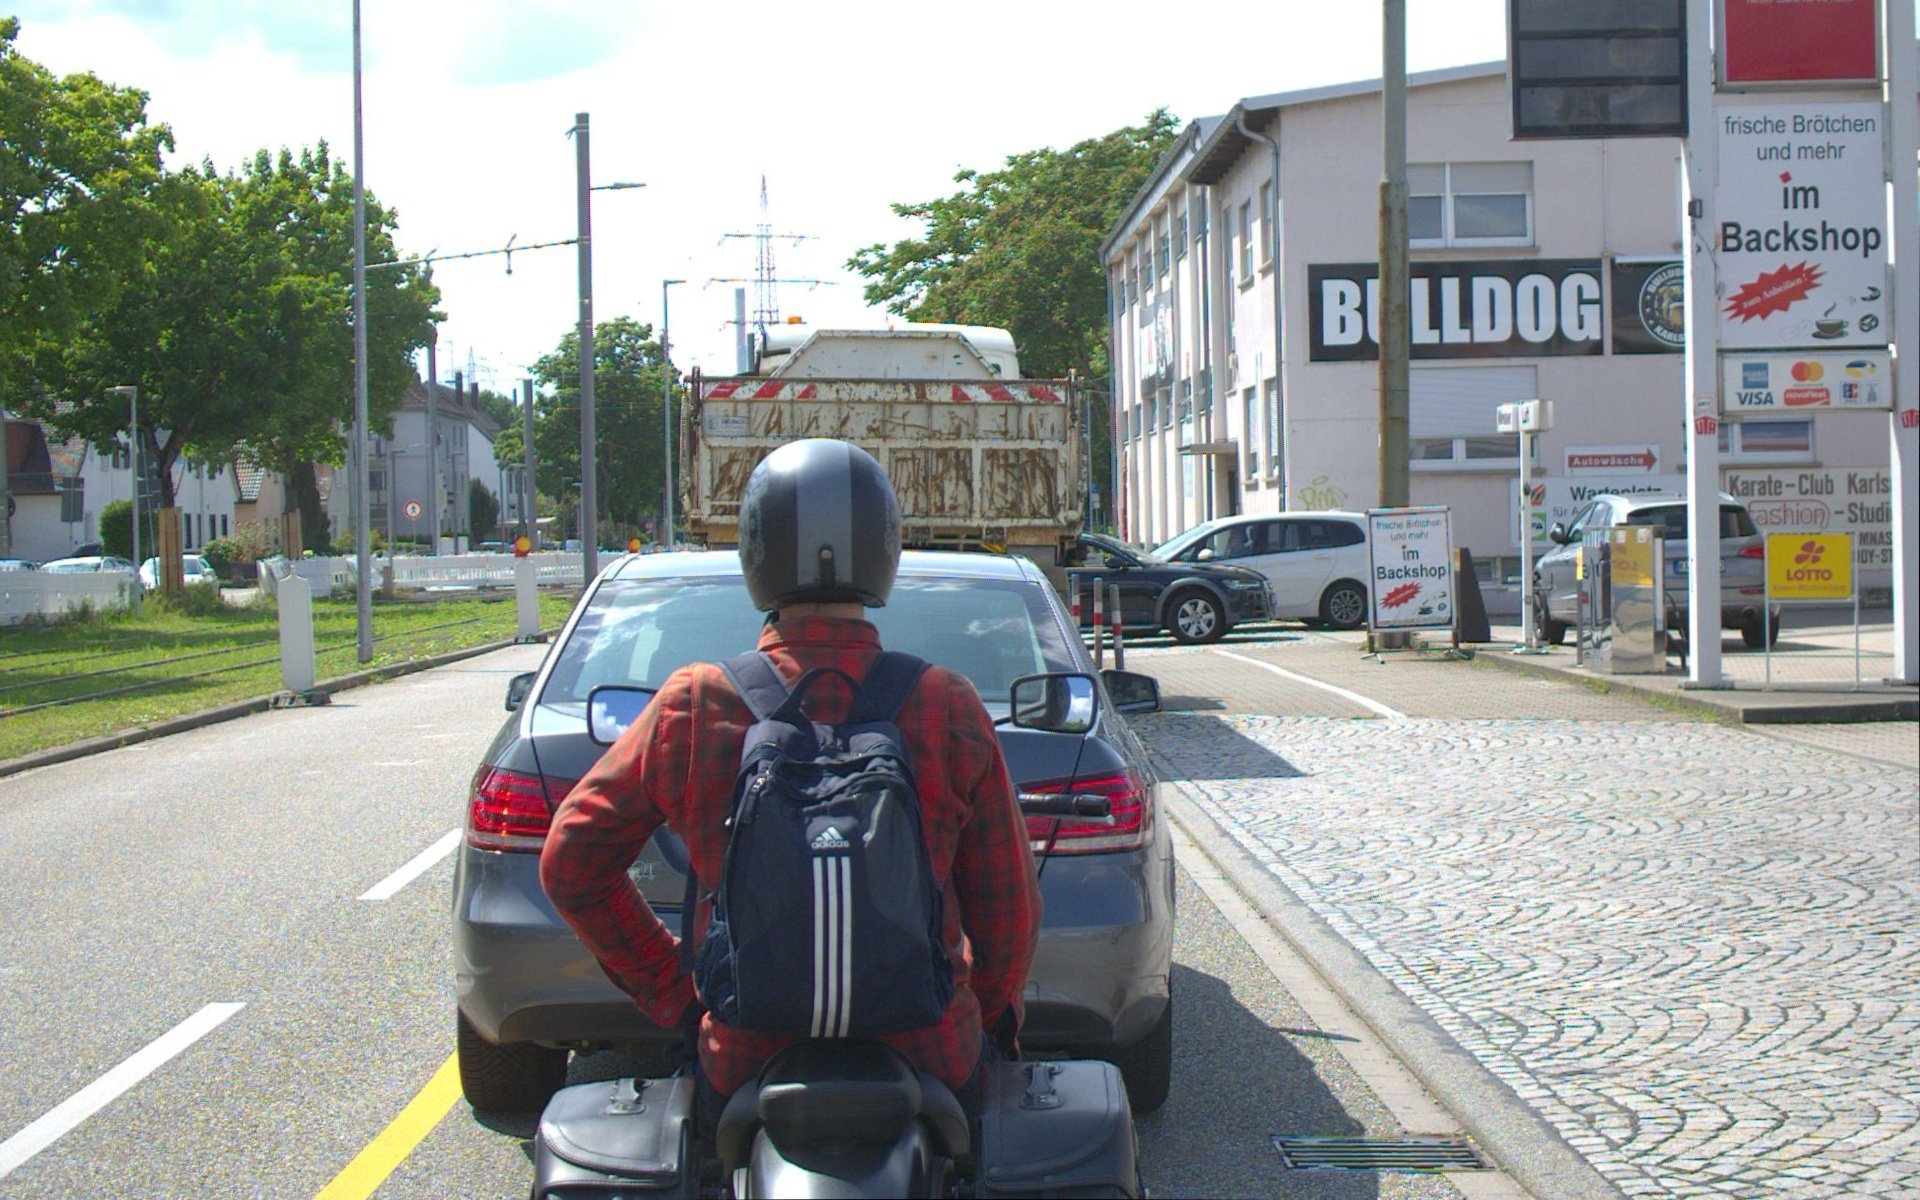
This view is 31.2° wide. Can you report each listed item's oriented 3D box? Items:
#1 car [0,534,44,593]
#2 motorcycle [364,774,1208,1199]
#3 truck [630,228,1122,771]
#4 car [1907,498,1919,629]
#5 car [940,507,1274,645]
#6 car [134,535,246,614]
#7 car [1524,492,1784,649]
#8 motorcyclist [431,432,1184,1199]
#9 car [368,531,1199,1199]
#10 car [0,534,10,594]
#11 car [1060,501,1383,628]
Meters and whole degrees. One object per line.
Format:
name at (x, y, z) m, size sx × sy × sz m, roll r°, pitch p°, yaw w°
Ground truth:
car at (-29.260, -1.110, 104.591) m, size 1.698 × 1.733 × 4.062 m, roll -1°, pitch 1°, yaw 0°
motorcycle at (-0.219, 0.862, 5.207) m, size 0.976 × 1.010 × 2.432 m, roll 1°, pitch 1°, yaw -1°
truck at (-0.636, -0.715, 25.468) m, size 2.970 × 3.293 × 8.408 m, roll -1°, pitch 1°, yaw -2°
car at (11.788, -0.400, 37.242) m, size 1.832 × 1.474 × 4.010 m, roll -1°, pitch 1°, yaw -2°
car at (1.871, -0.316, 43.552) m, size 4.105 × 1.619 × 1.686 m, roll -1°, pitch 1°, yaw 4°
car at (-17.806, -0.620, 79.672) m, size 1.698 × 1.733 × 3.860 m, roll -1°, pitch 1°, yaw 0°
car at (7.324, -0.340, 36.644) m, size 1.832 × 1.530 × 4.010 m, roll -1°, pitch 1°, yaw -2°
motorcyclist at (-0.209, 0.587, 5.085) m, size 0.969 × 1.627 × 1.215 m, roll 1°, pitch 1°, yaw -1°
car at (-0.451, 0.567, 9.741) m, size 1.832 × 1.474 × 4.010 m, roll -1°, pitch 1°, yaw -2°
car at (-28.666, -0.999, 98.580) m, size 1.698 × 1.733 × 4.062 m, roll -1°, pitch 1°, yaw 0°
car at (3.550, -0.500, 47.030) m, size 4.104 × 1.619 × 1.686 m, roll -1°, pitch 1°, yaw -8°
